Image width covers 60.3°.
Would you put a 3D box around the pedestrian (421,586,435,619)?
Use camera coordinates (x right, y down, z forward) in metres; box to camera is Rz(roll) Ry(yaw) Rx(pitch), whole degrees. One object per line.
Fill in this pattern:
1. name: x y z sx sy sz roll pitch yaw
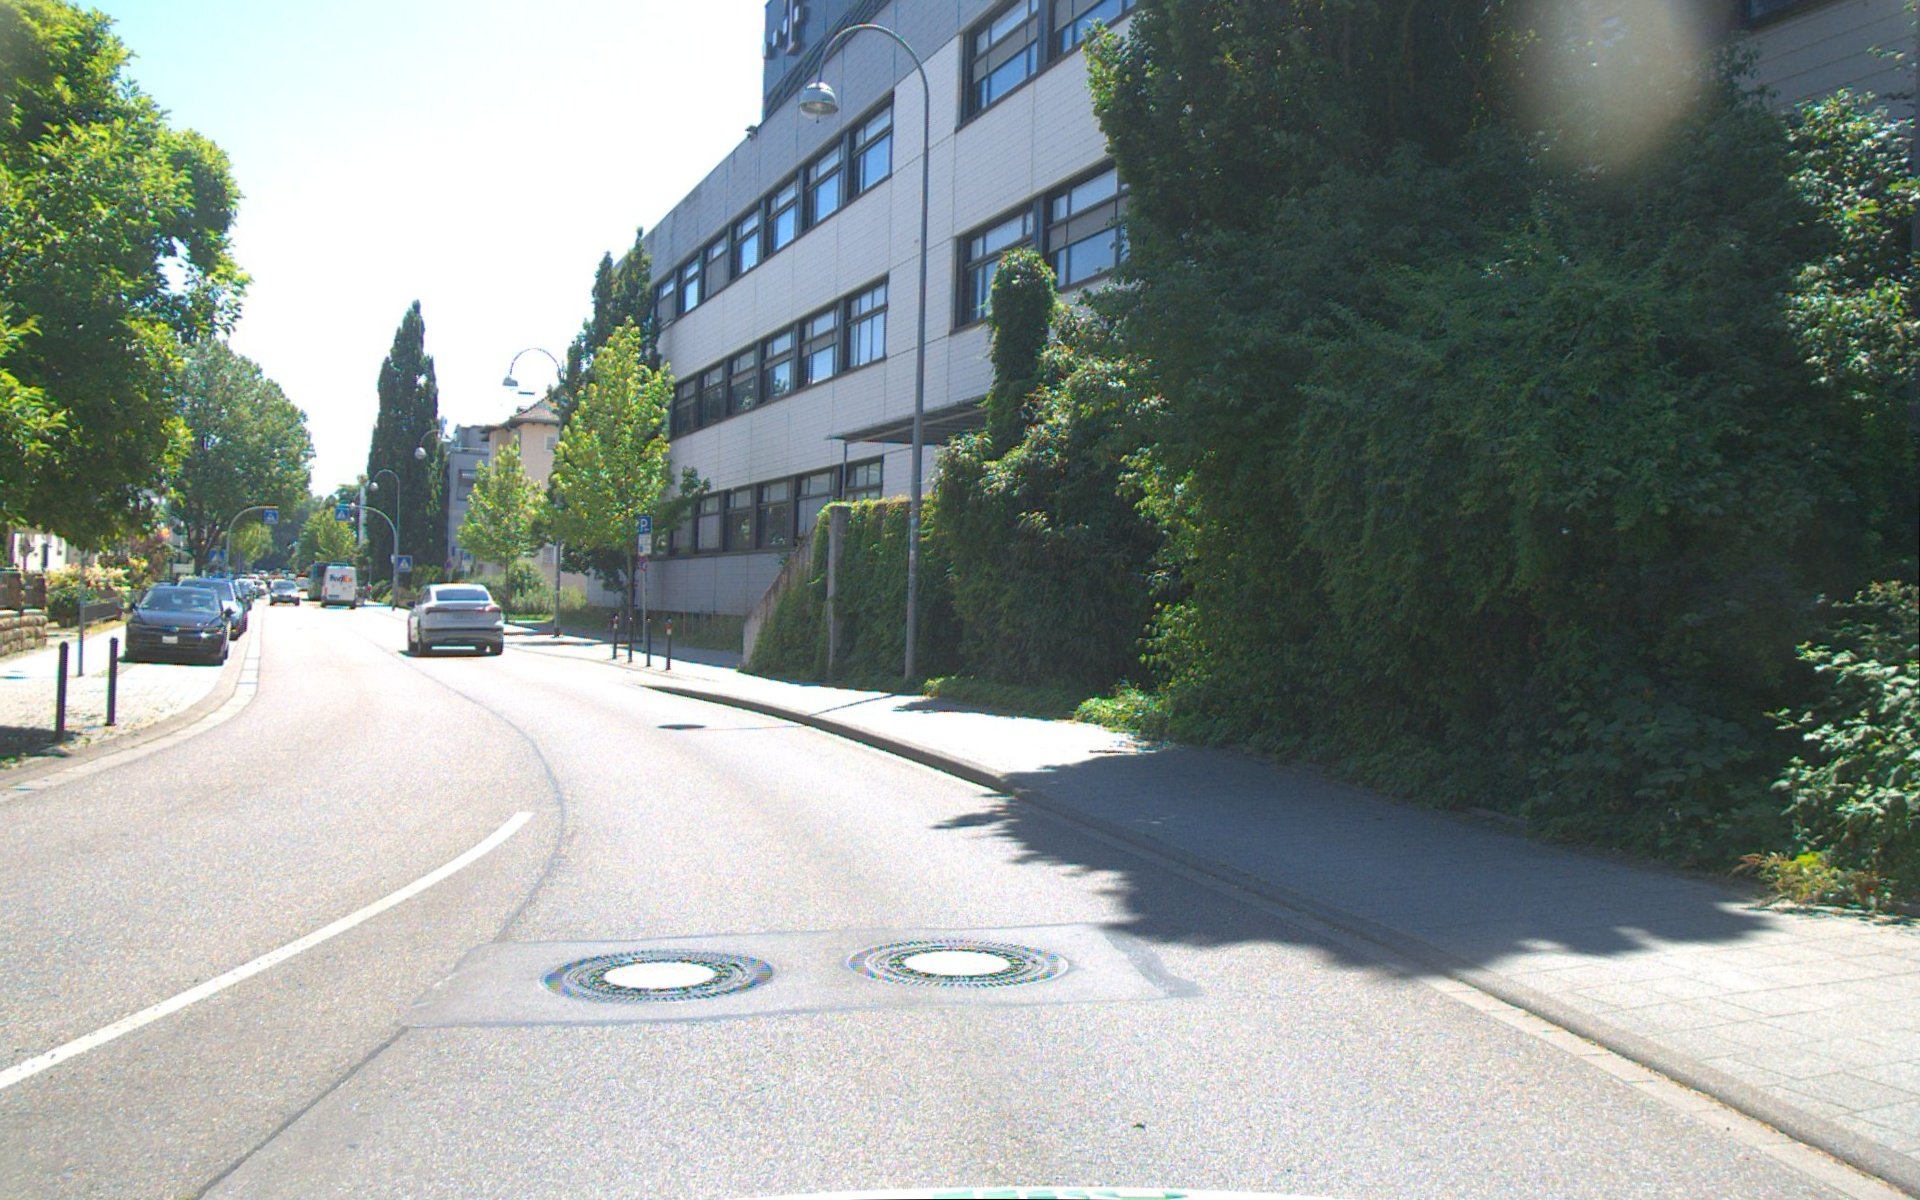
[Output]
1. pedestrian: -29.104 0.123 90.433 0.630 1.789 0.611 1 0 -28

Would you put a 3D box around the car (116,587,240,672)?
1. car: -15.506 0.548 33.006 1.899 1.461 4.627 4 -1 -22

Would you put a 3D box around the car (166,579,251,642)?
1. car: -21.210 0.273 46.820 1.899 1.600 4.627 4 -1 -22

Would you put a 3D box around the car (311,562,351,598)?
1. car: -39.588 -1.267 104.070 2.043 2.235 5.099 -1 1 -24

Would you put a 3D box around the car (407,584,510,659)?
1. car: -12.170 0.462 39.981 1.910 1.642 4.441 -3 1 -22

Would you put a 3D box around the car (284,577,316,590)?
1. car: -93.376 -2.359 234.091 3.923 1.680 1.991 1 0 -17

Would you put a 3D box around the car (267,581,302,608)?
1. car: -44.230 -0.357 108.233 1.948 1.700 4.438 1 0 -24

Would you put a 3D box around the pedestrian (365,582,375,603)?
1. pedestrian: -49.080 -0.629 137.663 0.686 1.767 0.662 1 0 -28
